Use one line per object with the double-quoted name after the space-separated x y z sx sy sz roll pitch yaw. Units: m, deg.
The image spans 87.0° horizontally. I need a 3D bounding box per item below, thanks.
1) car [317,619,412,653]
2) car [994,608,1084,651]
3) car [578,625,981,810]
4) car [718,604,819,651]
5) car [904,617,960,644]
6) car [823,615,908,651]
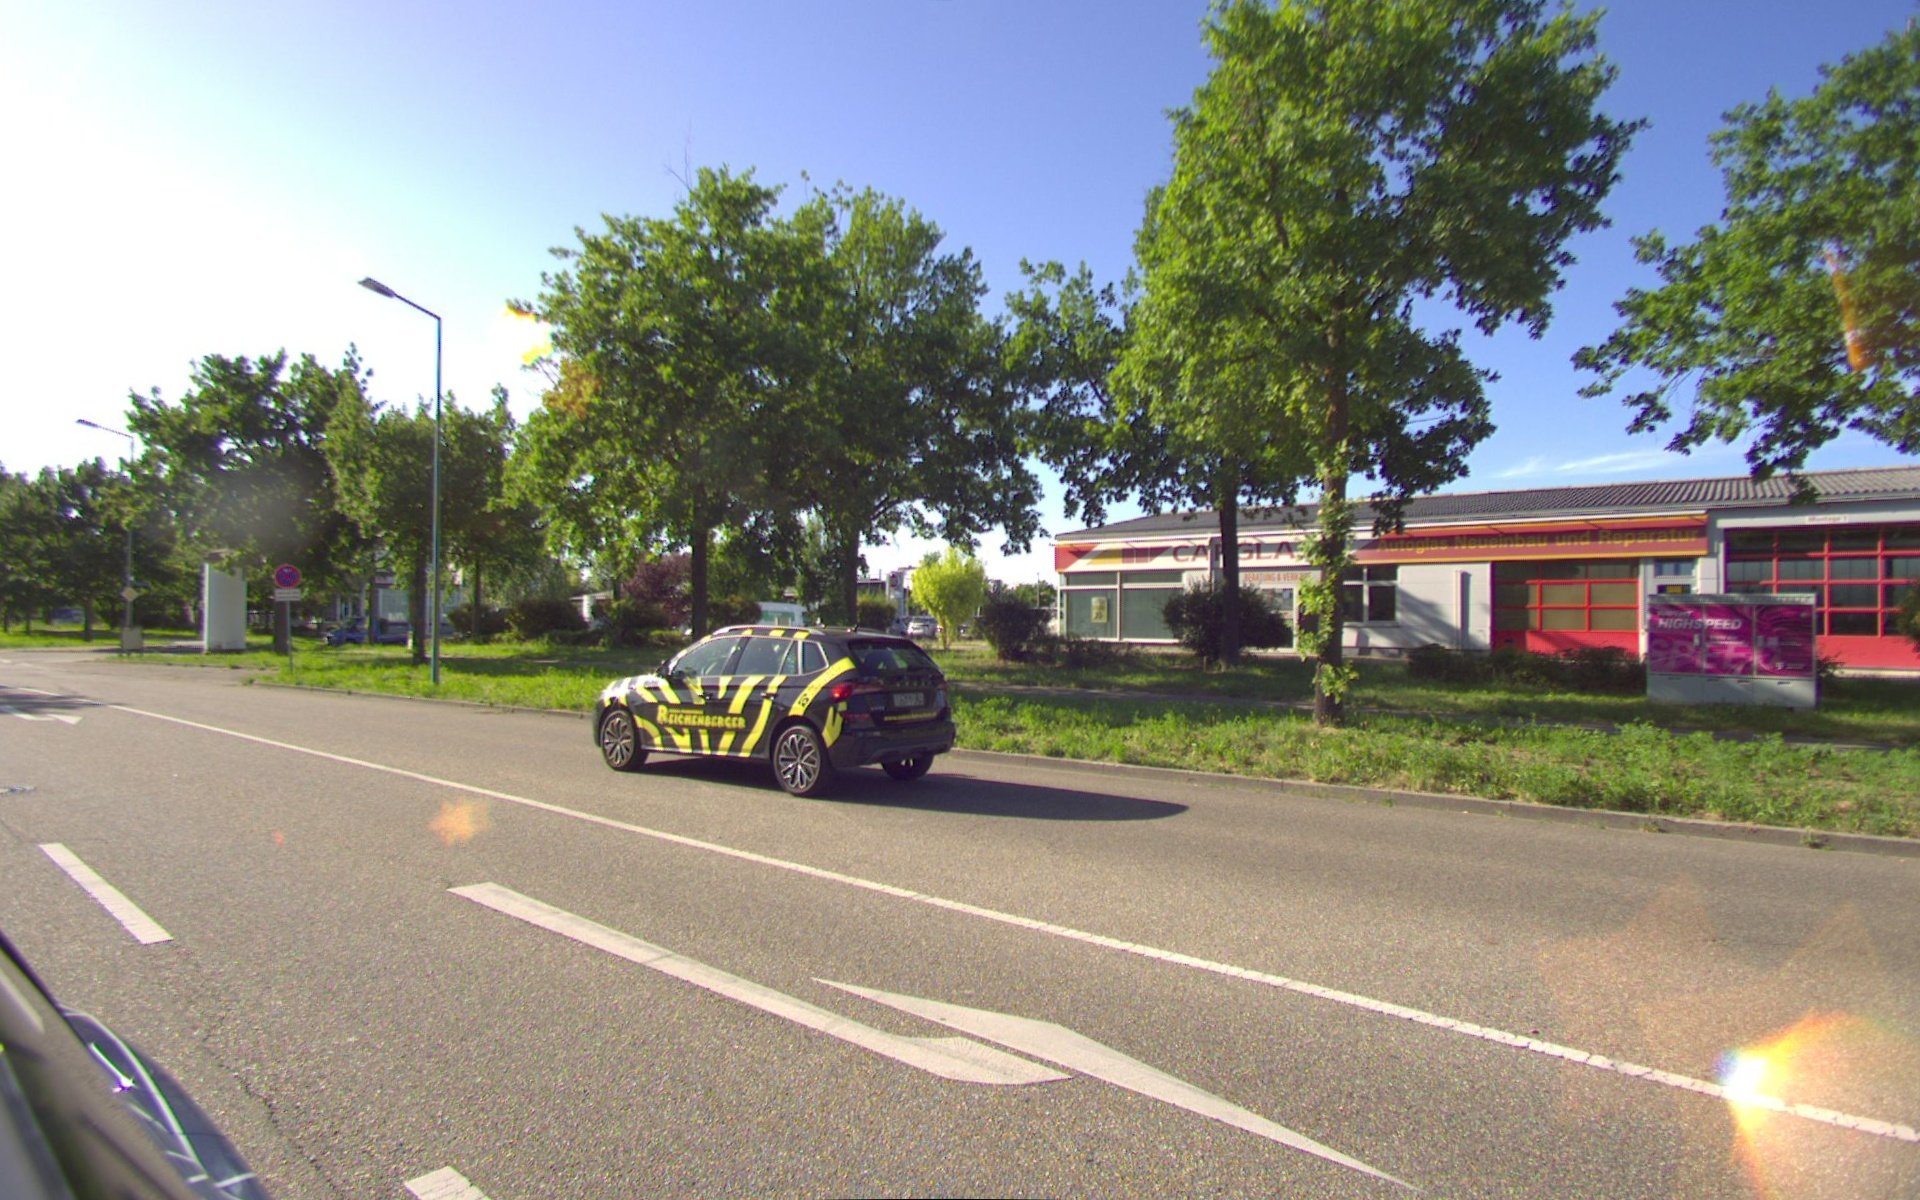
-35.974 2.151 61.232 1.999 1.847 4.578 -1 0 41 "car"
3.211 1.151 40.605 1.734 1.583 3.769 -3 -1 40 "car"
-1.946 1.048 10.408 4.072 1.537 1.747 -1 -3 36 "car"
-11.455 1.592 61.000 2.406 2.574 5.952 -1 0 36 "car"
-1.875 2.044 68.623 1.761 1.684 3.811 -1 0 40 "car"
-5.148 1.762 55.789 1.989 1.795 4.583 -1 0 40 "car"
